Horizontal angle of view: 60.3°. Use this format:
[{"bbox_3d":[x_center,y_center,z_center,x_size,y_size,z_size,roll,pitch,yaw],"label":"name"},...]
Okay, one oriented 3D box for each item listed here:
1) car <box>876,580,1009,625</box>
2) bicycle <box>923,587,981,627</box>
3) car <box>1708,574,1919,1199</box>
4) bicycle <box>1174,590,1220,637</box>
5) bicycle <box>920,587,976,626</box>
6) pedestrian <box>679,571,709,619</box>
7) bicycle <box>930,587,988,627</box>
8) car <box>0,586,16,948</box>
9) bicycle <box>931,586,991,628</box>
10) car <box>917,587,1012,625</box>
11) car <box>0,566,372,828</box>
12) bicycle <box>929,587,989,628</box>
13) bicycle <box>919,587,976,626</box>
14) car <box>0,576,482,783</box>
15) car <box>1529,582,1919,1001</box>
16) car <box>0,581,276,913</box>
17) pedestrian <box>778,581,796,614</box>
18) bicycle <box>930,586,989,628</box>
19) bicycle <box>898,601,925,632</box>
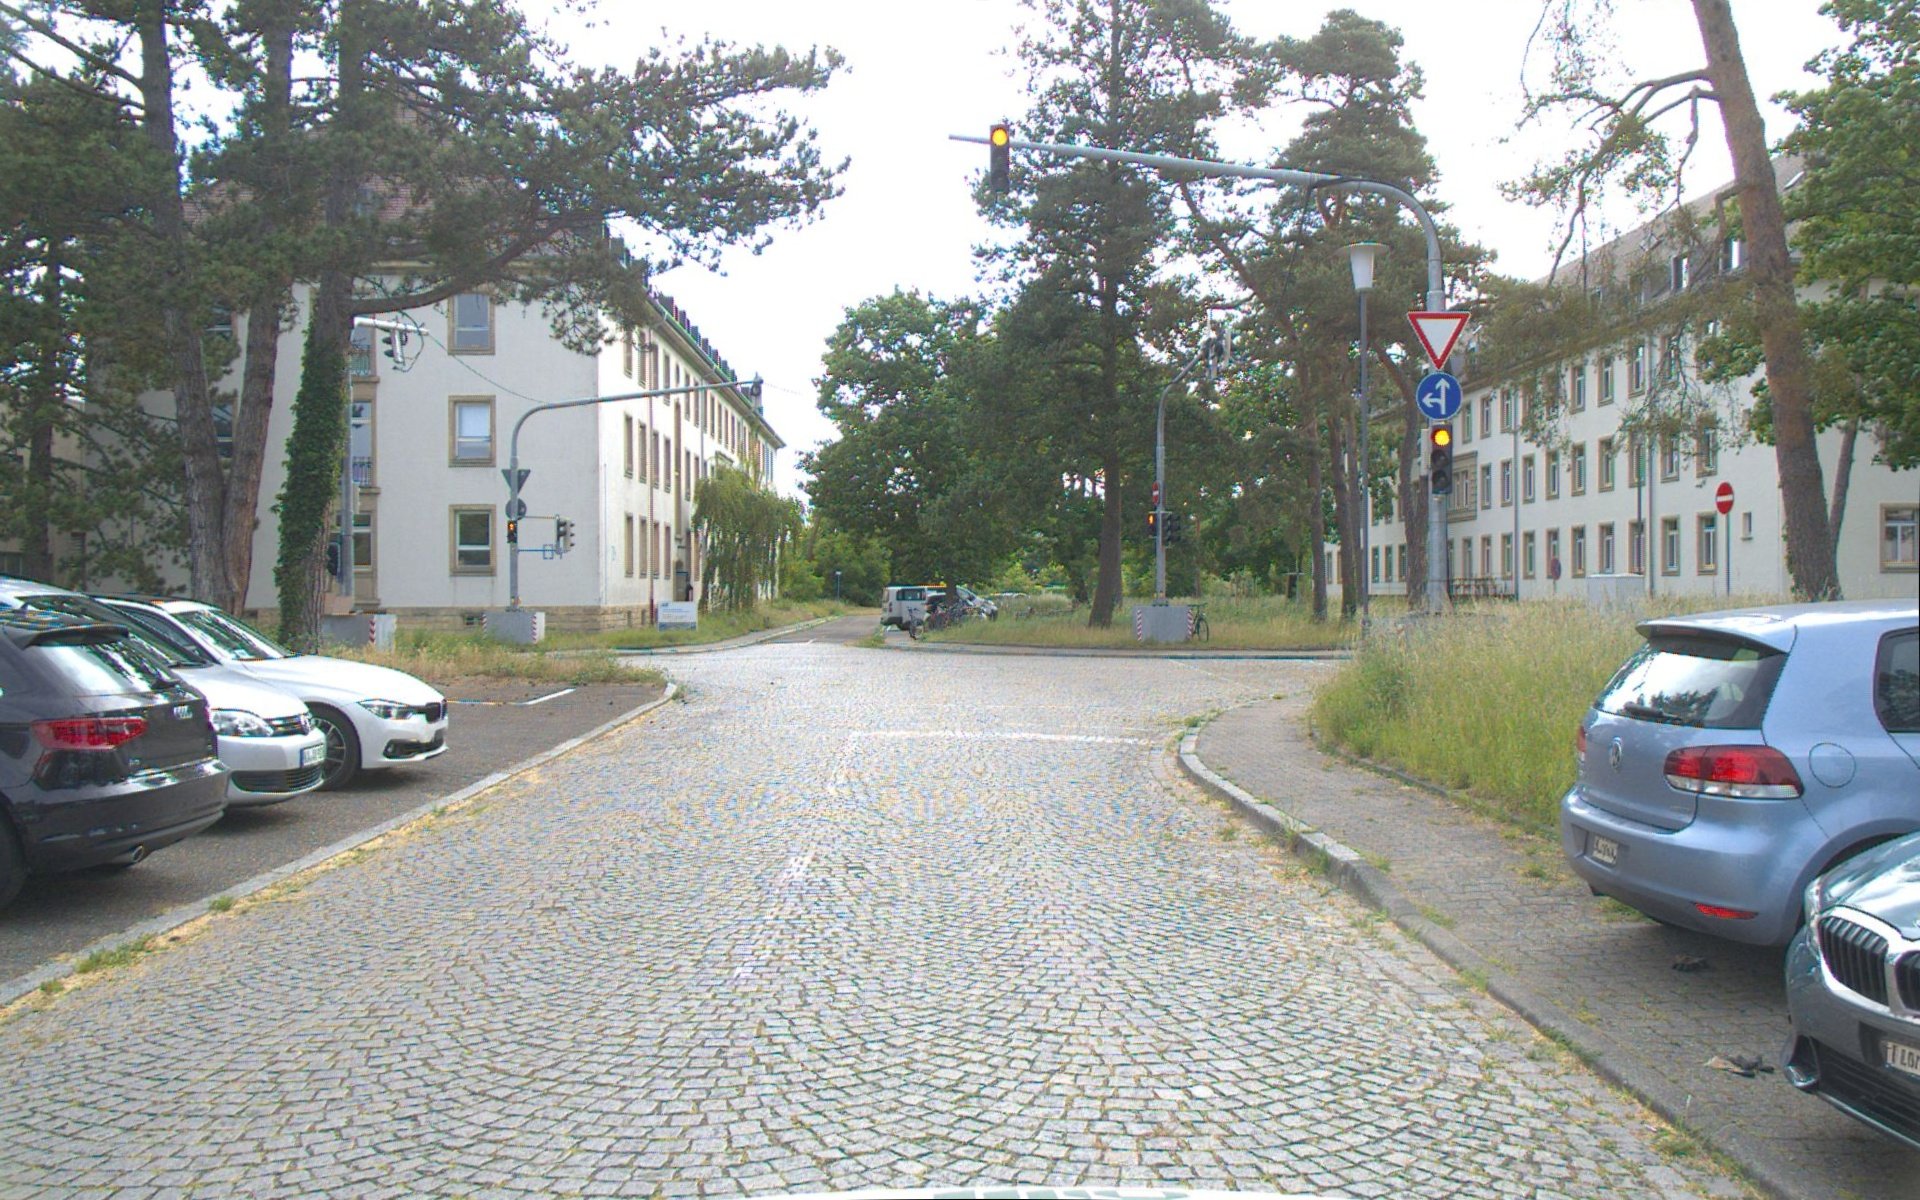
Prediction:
[{"bbox_3d":[-0.793,0.078,73.724,5.594,1.944,2.222,0,0,-14],"label":"car"},{"bbox_3d":[-0.282,0.238,58.735,2.027,1.402,0.620,0,0,-1],"label":"bicycle"},{"bbox_3d":[4.617,0.676,4.239,4.663,1.508,1.760,0,0,-5],"label":"car"},{"bbox_3d":[6.260,0.347,43.715,0.890,1.197,1.873,0,0,-2],"label":"bicycle"},{"bbox_3d":[-0.448,0.238,60.217,2.027,1.402,0.620,0,0,-1],"label":"bicycle"},{"bbox_3d":[-11.438,-0.210,71.103,1.064,2.049,1.022,0,0,4],"label":"pedestrian"},{"bbox_3d":[-0.043,0.244,57.942,2.027,1.402,0.620,0,0,-1],"label":"bicycle"},{"bbox_3d":[-5.608,0.615,5.694,3.607,1.478,1.806,2,0,-6],"label":"car"},{"bbox_3d":[0.040,0.242,55.851,2.027,1.402,0.620,0,0,-1],"label":"bicycle"},{"bbox_3d":[0.154,0.241,70.375,3.856,1.571,1.998,0,0,-6],"label":"car"},{"bbox_3d":[-6.227,0.573,11.121,3.910,1.574,1.722,2,0,-6],"label":"car"},{"bbox_3d":[-0.034,0.243,57.145,2.027,1.402,0.620,0,0,-1],"label":"bicycle"},{"bbox_3d":[-0.446,0.236,59.469,2.027,1.402,0.620,0,0,-1],"label":"bicycle"},{"bbox_3d":[-6.461,0.598,13.569,4.557,1.469,1.800,2,0,-5],"label":"car"},{"bbox_3d":[4.468,0.653,6.798,3.687,1.451,1.605,-1,1,-2],"label":"car"},{"bbox_3d":[-5.775,0.608,8.285,3.907,1.452,1.750,2,0,-2],"label":"car"},{"bbox_3d":[-10.783,-0.181,102.854,0.938,2.049,0.796,0,0,8],"label":"pedestrian"},{"bbox_3d":[-0.017,0.242,56.520,2.027,1.402,0.620,0,0,-1],"label":"bicycle"},{"bbox_3d":[-1.583,0.535,54.019,0.605,0.980,2.078,0,0,6],"label":"bicycle"}]
